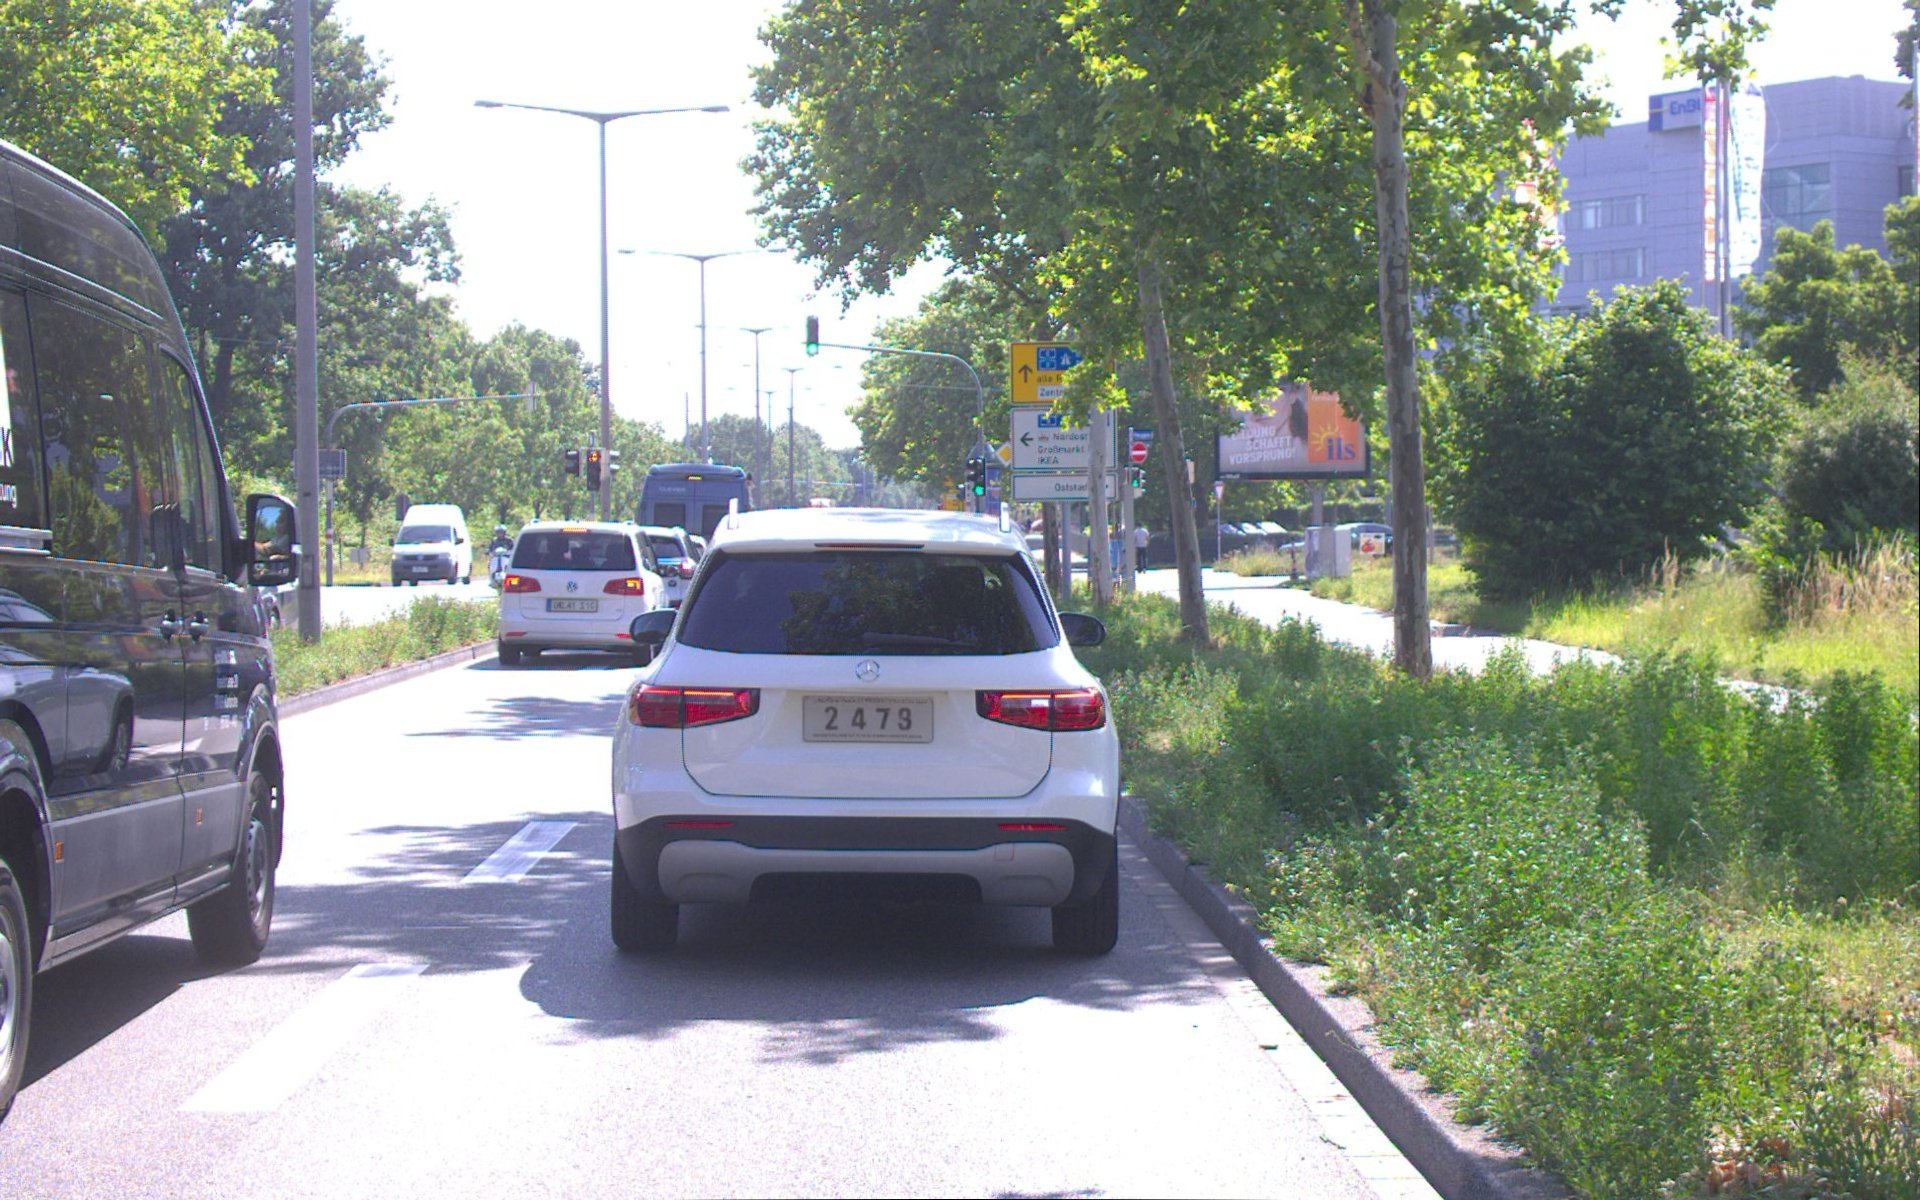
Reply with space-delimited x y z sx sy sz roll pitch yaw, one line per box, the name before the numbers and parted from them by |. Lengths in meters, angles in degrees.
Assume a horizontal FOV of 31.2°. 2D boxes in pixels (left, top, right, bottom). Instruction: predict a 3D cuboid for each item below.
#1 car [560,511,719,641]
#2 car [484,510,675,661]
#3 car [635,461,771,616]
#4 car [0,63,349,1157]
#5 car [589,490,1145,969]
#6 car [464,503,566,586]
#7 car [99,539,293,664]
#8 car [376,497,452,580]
car | -4.255 -0.340 46.120 1.771 1.641 4.085 1 1 -1
car | -4.377 -0.197 40.105 1.771 1.641 4.352 1 1 -1
car | -4.594 -1.113 62.080 2.081 2.647 4.874 1 1 -1
car | -3.314 -0.011 10.035 2.016 2.598 6.169 1 1 -1
car | -0.522 0.396 13.593 1.853 1.602 4.001 0 1 -7
car | -10.636 -1.327 82.389 1.993 1.875 4.000 2 1 -2
car | -9.497 -0.012 42.965 1.602 1.467 3.790 1 1 -1
car | -16.364 -1.848 103.180 1.993 2.410 5.140 0 1 -6
